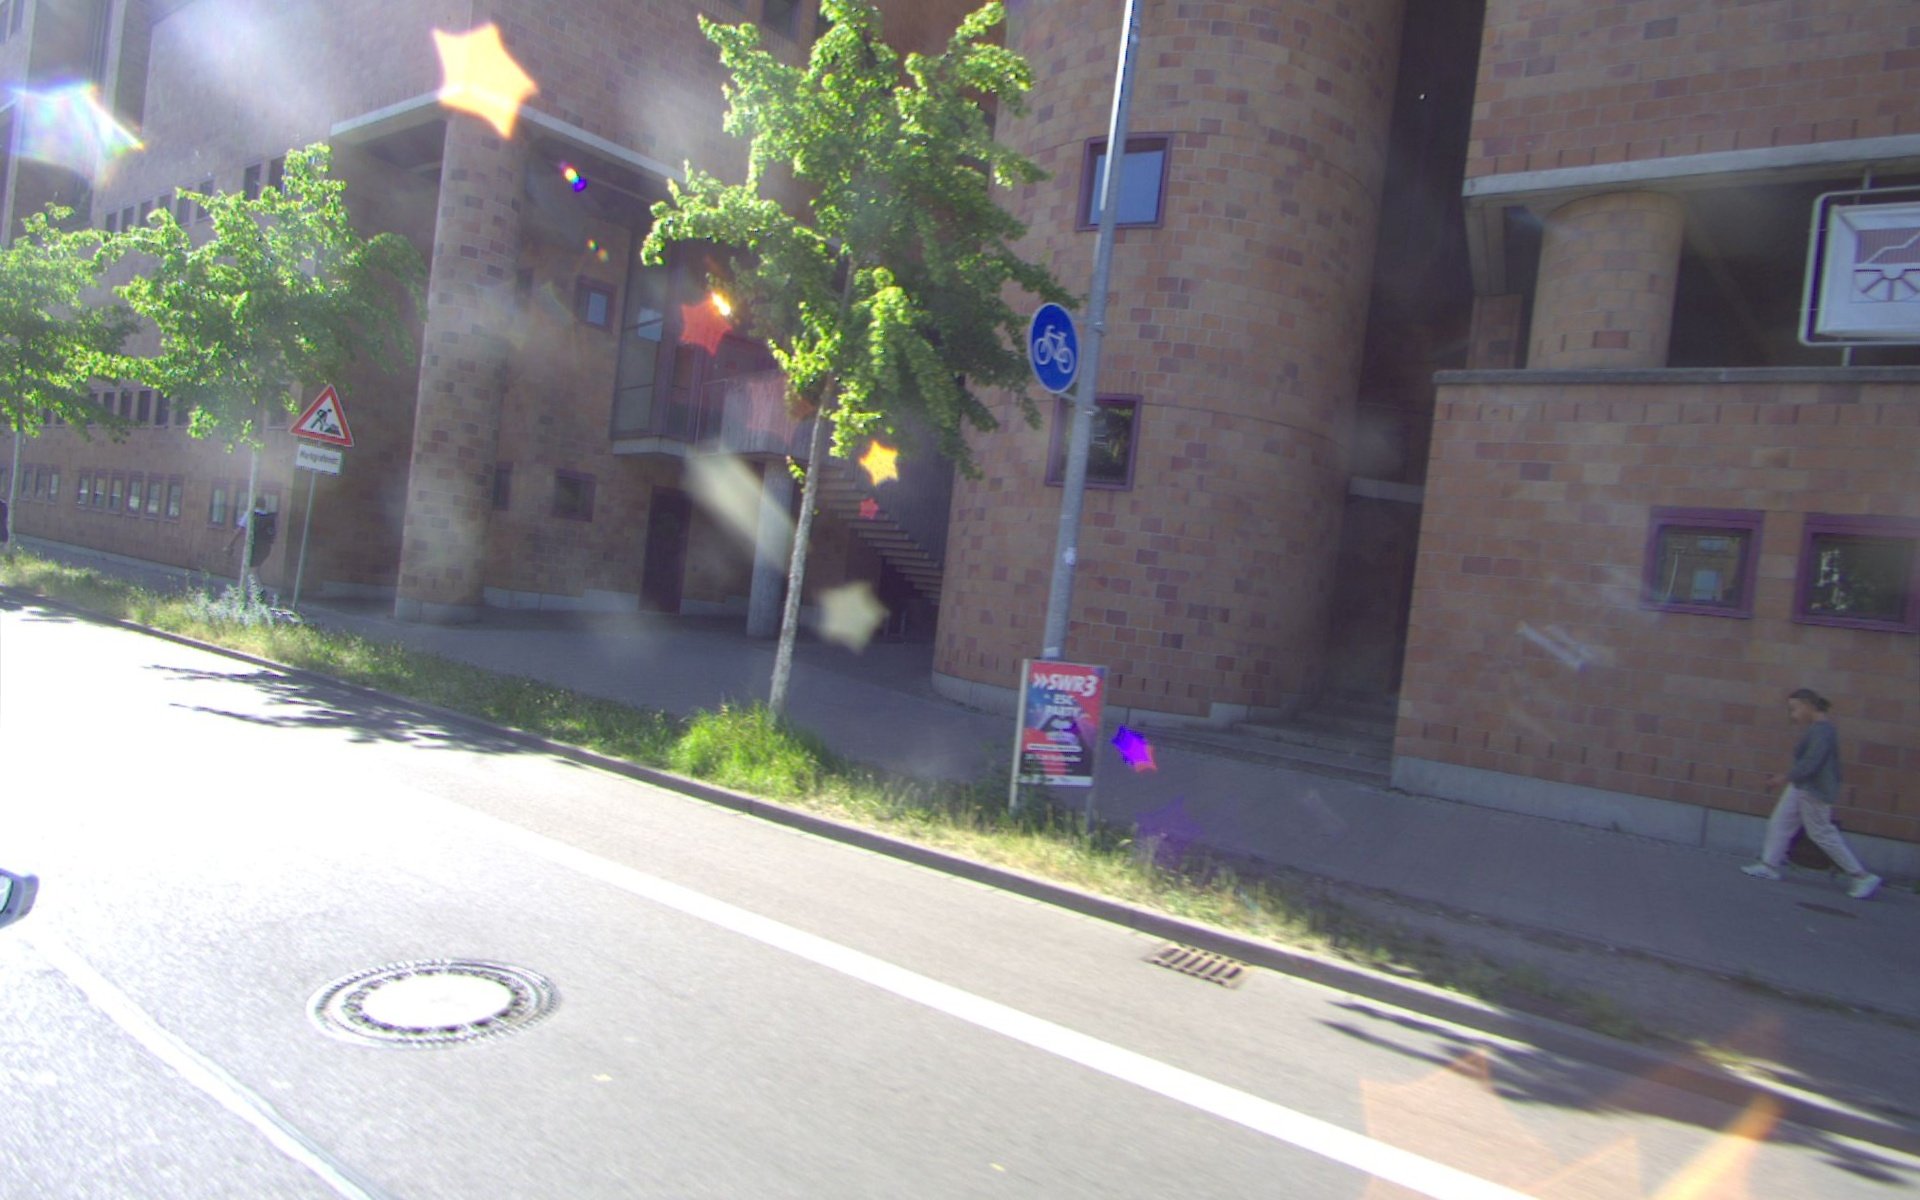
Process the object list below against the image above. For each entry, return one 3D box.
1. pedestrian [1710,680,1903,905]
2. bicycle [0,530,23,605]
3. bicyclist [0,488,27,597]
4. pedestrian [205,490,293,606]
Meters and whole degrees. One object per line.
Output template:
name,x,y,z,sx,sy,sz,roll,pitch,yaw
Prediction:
pedestrian,7.063,1.555,8.462,0.960,1.640,0.789,7,1,31
bicycle,-14.418,-0.539,14.749,1.482,1.039,0.558,7,-1,33
bicyclist,-14.345,-0.895,14.723,0.894,1.555,0.658,7,-1,33
pedestrian,-12.609,-0.917,17.835,1.088,1.906,0.788,7,1,33
